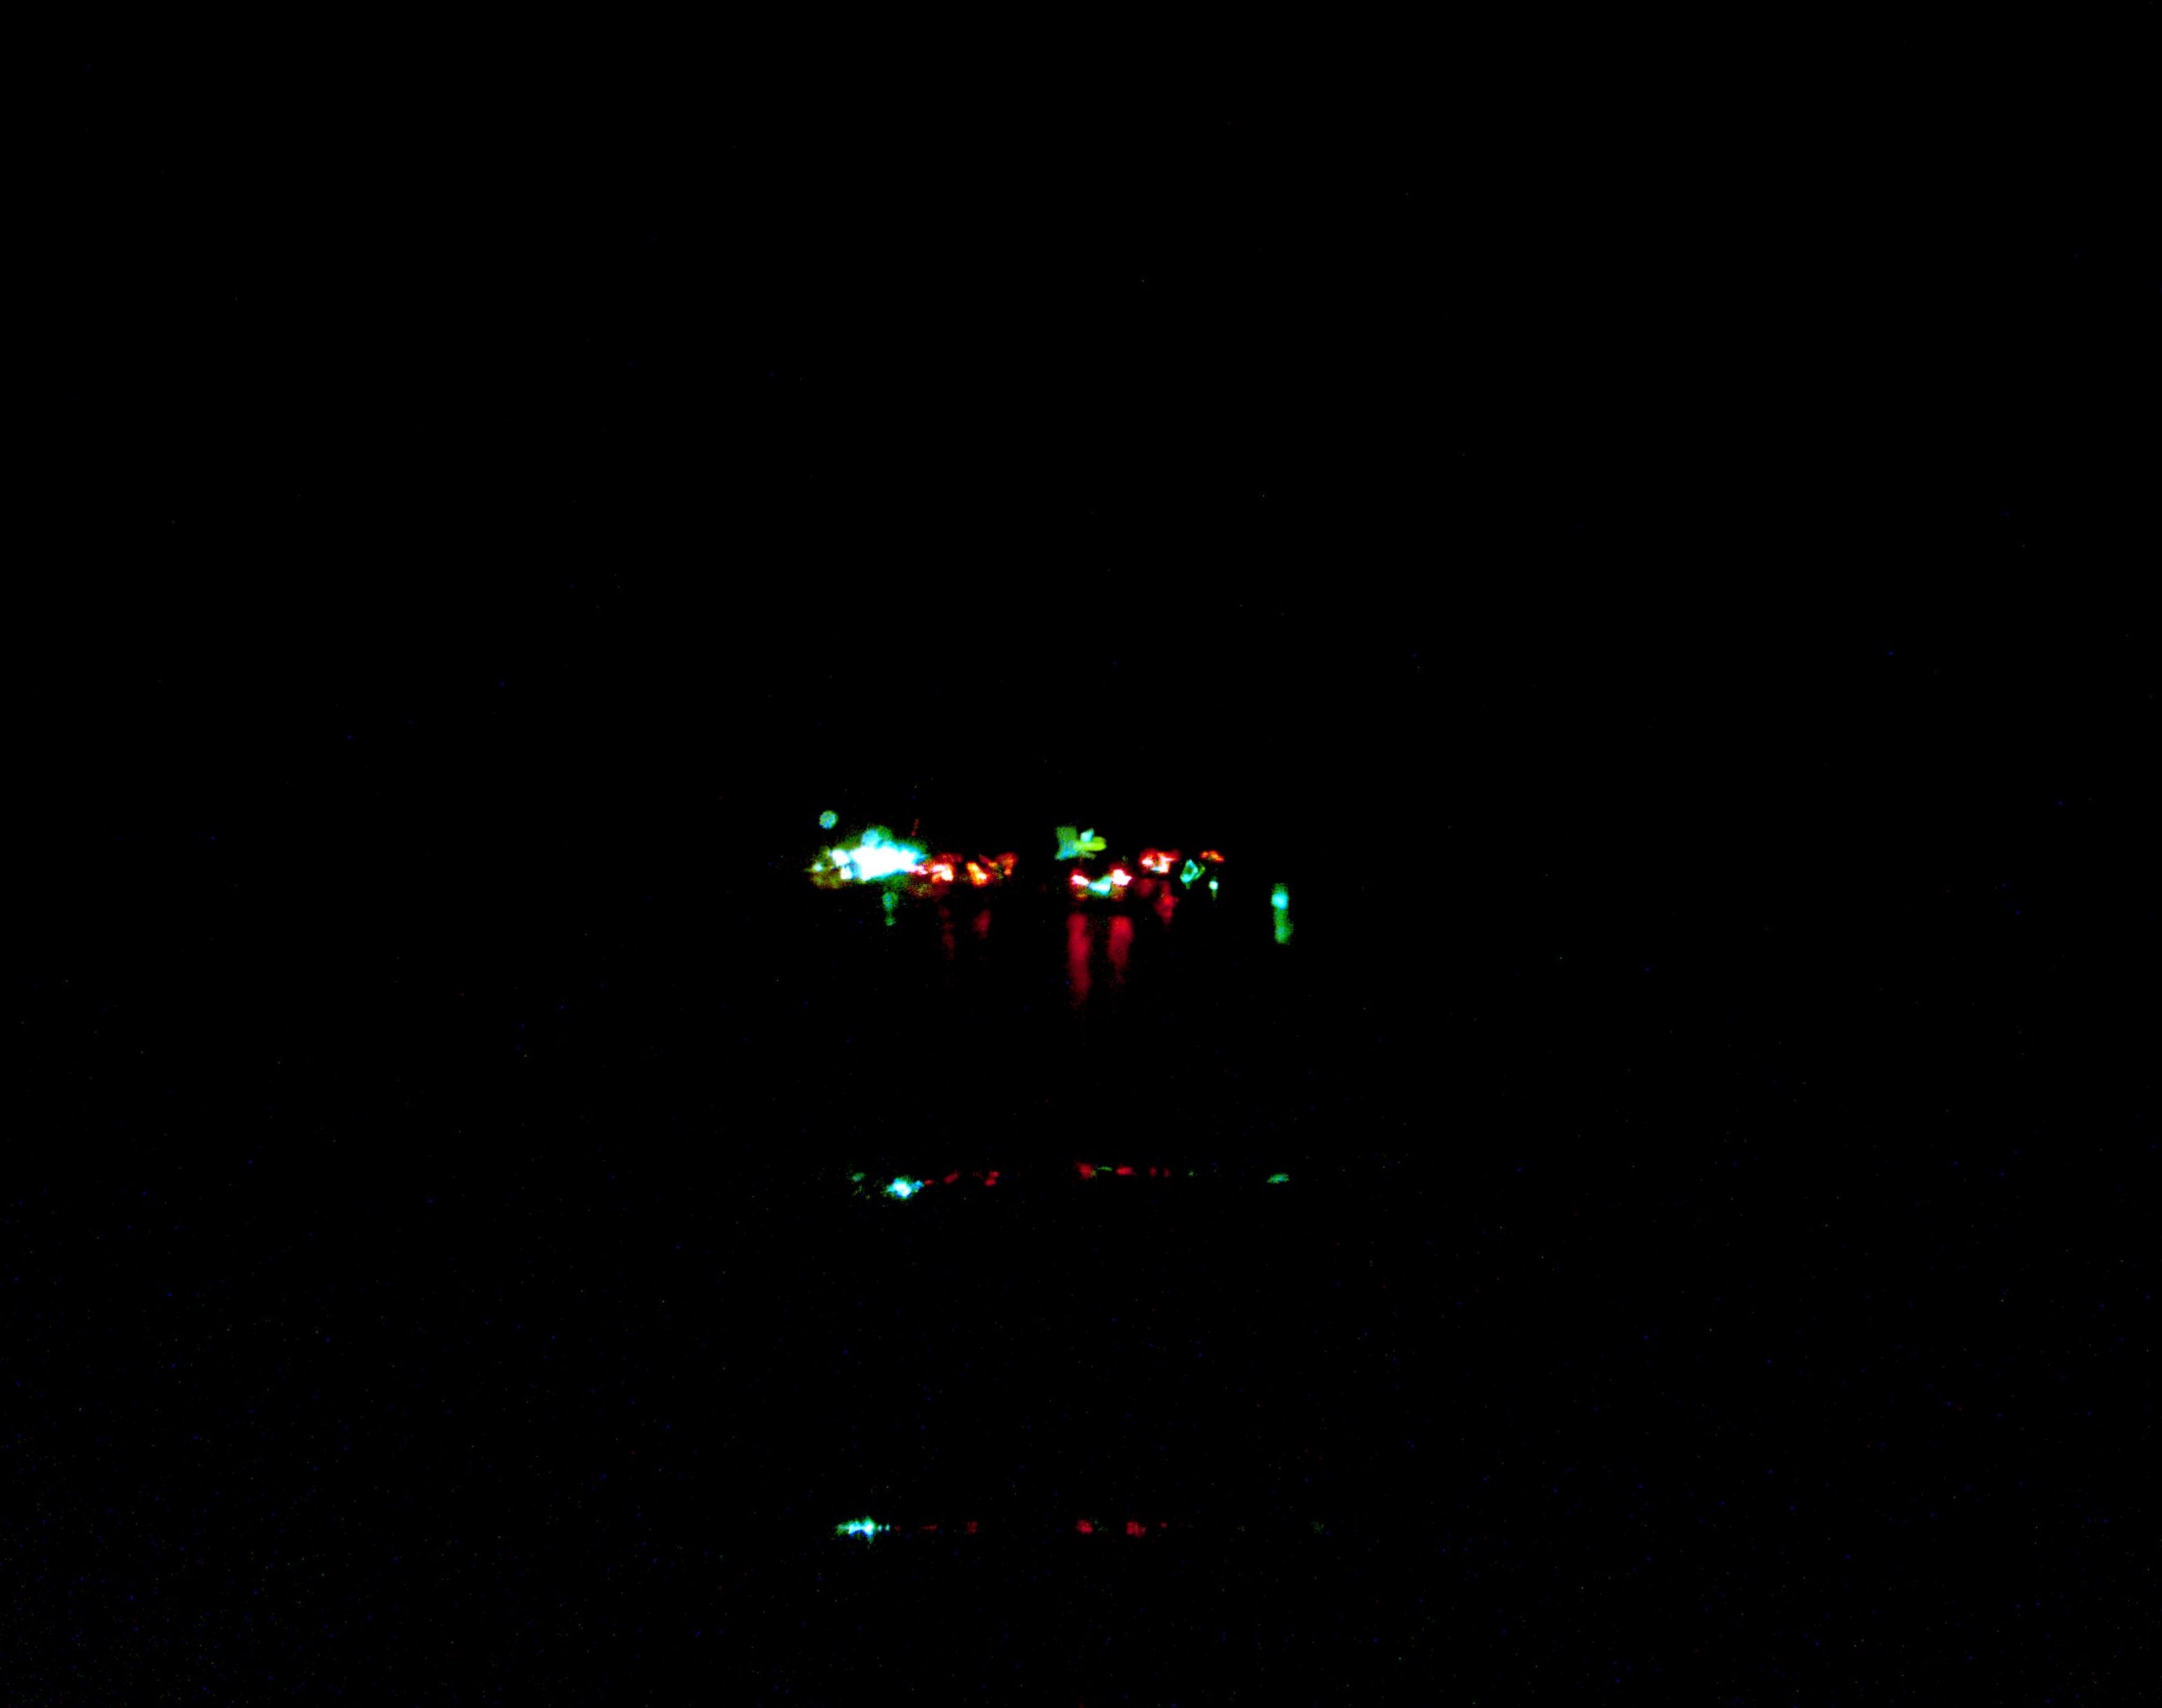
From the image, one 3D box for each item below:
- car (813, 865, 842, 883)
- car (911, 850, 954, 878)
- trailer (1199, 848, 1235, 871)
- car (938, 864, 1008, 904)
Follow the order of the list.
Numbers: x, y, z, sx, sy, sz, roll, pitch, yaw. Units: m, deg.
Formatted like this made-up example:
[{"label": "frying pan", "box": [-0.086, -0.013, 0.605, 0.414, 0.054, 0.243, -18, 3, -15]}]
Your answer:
[{"label": "car", "box": [-22.454, 1.774, 72.233, 1.783, 1.474, 3.880, -1, -1, -9]}, {"label": "car", "box": [-8.800, 0.576, 48.568, 1.763, 1.517, 4.911, -1, 0, -2]}, {"label": "trailer", "box": [12.966, 0.529, 77.090, 2.062, 2.014, 10.692, -1, -1, 16]}, {"label": "car", "box": [-3.895, 1.059, 29.973, 1.955, 1.380, 4.049, 0, -1, 1]}]
